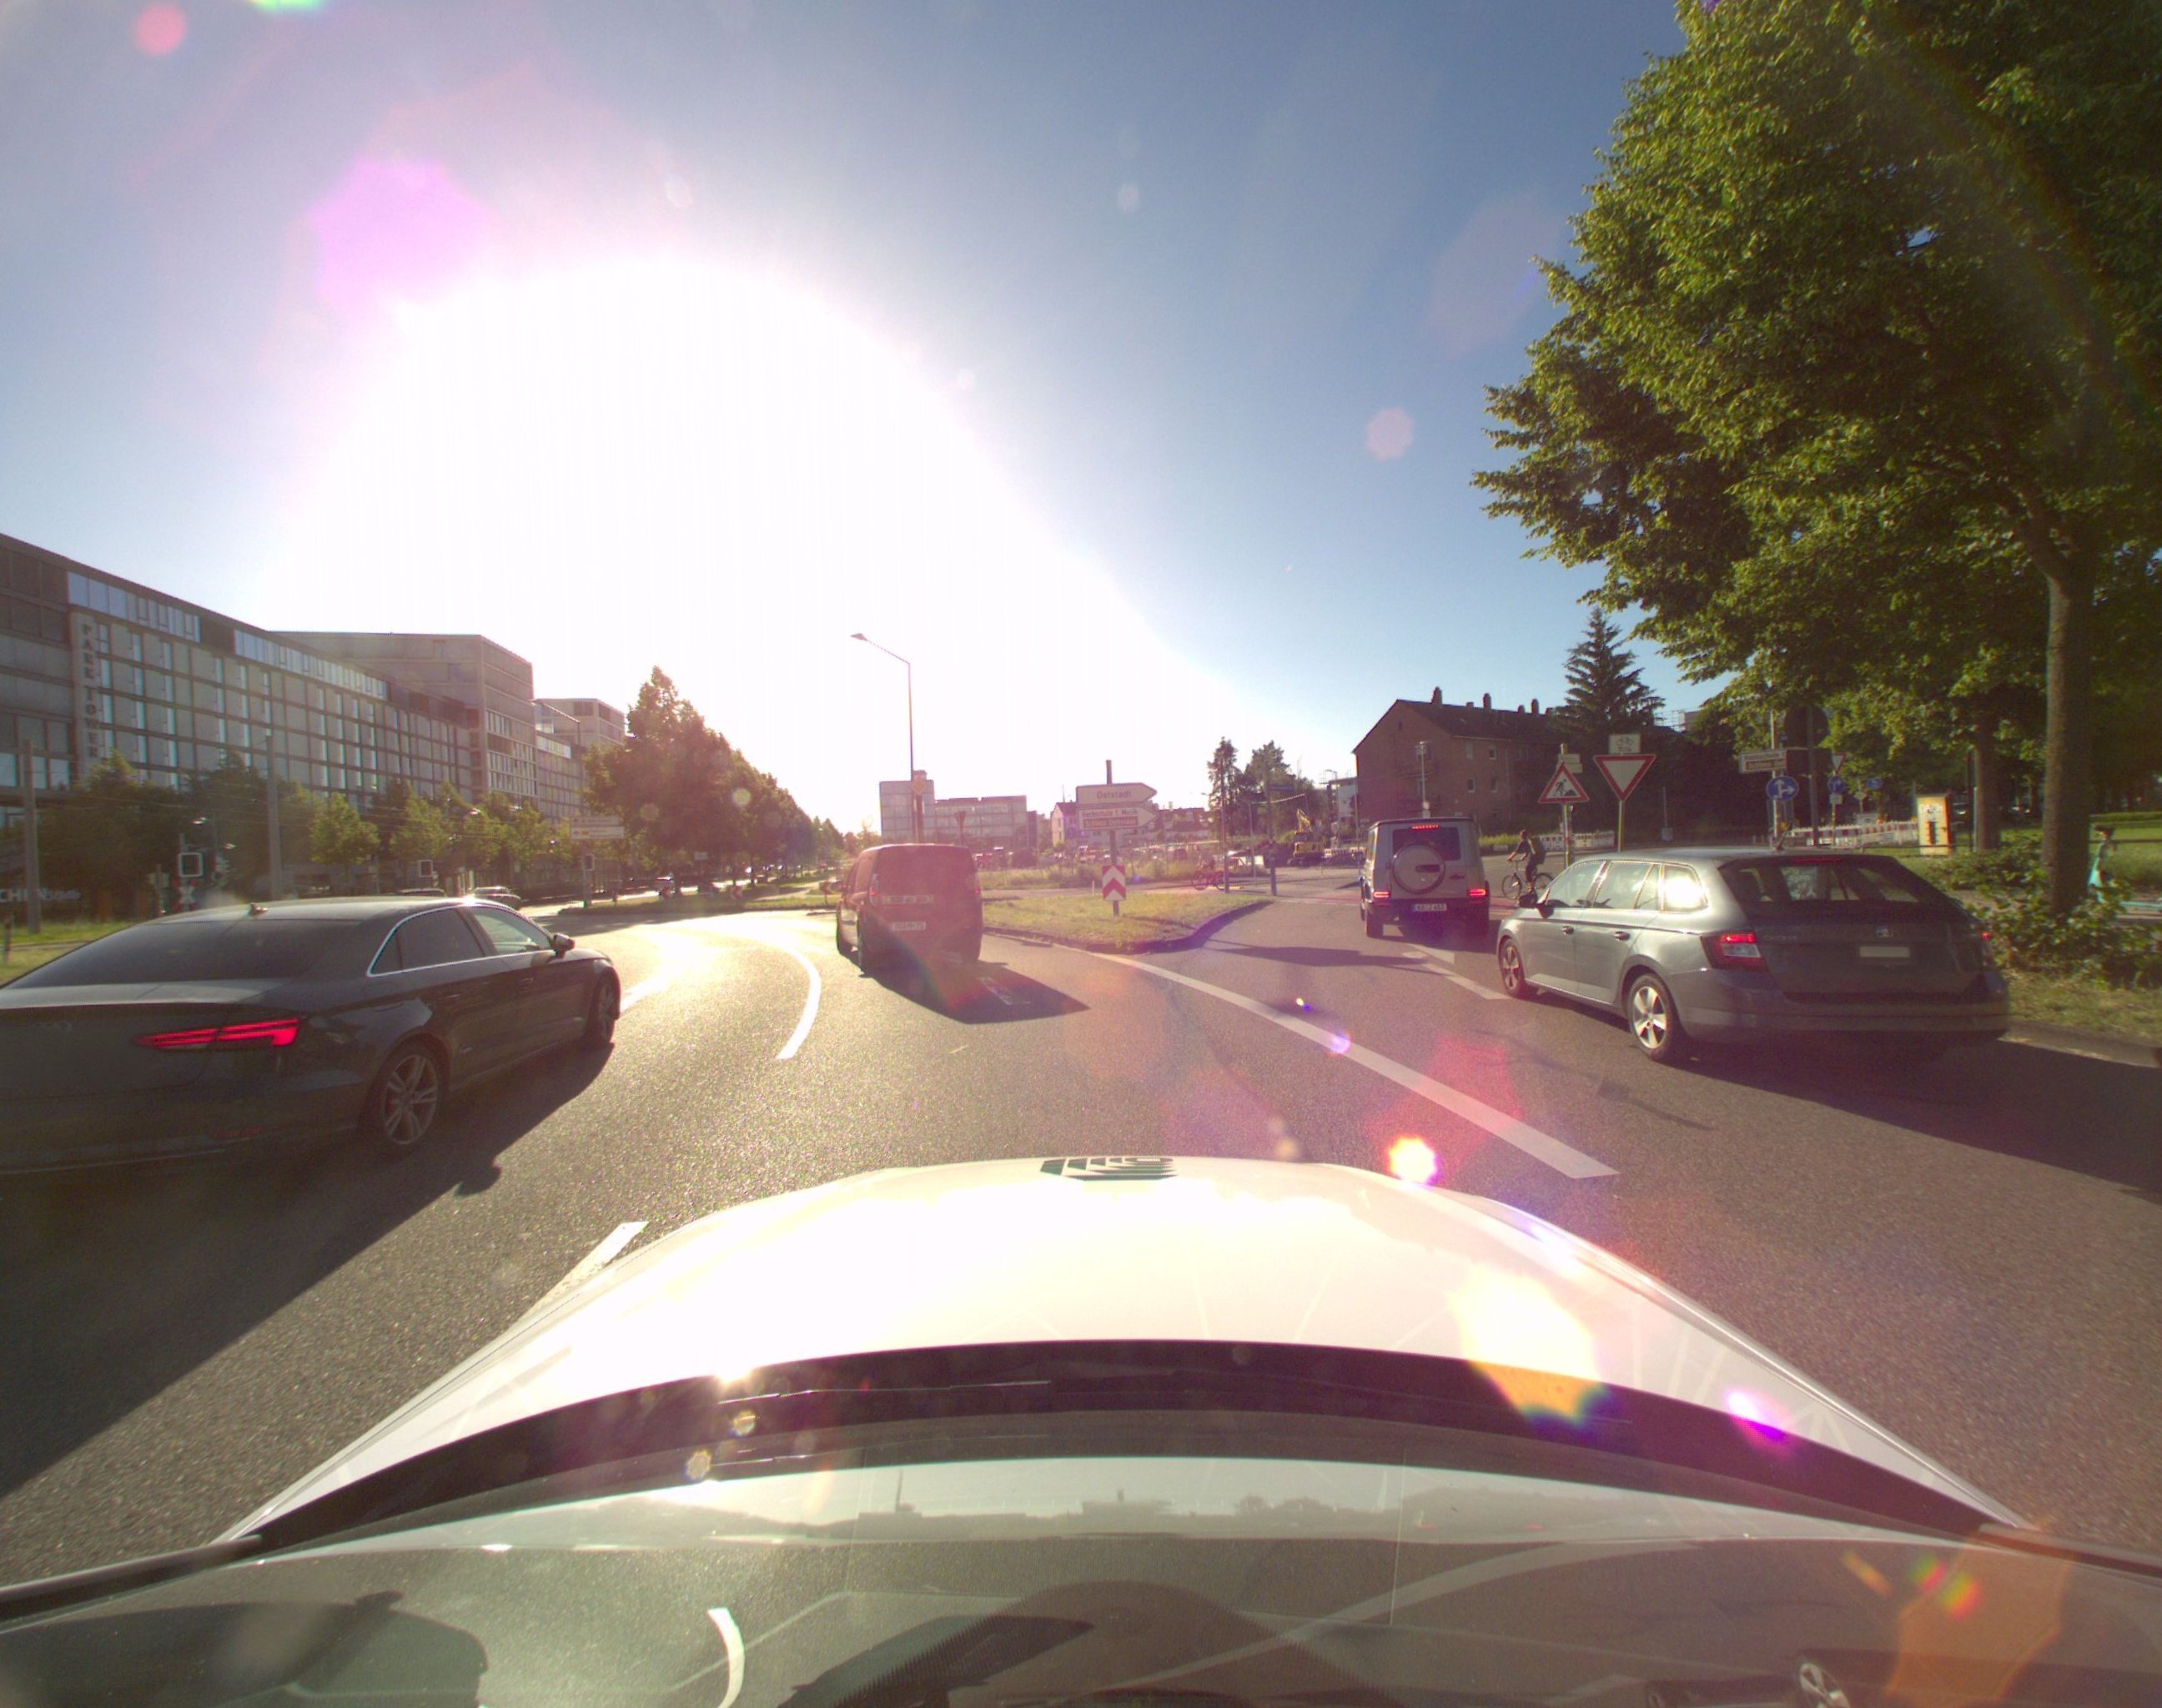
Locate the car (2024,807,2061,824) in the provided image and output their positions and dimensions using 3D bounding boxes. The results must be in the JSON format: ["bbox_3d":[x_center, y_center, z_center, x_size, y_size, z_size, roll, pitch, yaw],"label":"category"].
[{"bbox_3d":[107.916,-4.299,91.405,4.012,1.871,1.981,-1,0,-30],"label":"car"}]

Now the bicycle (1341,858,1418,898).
[{"bbox_3d":[8.029,0.646,21.935,1.800,1.027,0.664,-1,0,40],"label":"bicycle"}]

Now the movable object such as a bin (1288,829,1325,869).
[{"bbox_3d":[16.422,-0.348,59.522,2.402,2.773,4.014,-1,0,13],"label":"movable object such as a bin"}]

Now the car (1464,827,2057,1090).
[{"bbox_3d":[4.743,0.590,6.626,1.705,1.436,4.160,-2,0,7],"label":"car"}]

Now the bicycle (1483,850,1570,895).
[{"bbox_3d":[10.816,0.435,19.832,0.661,1.027,1.808,-1,0,-26],"label":"bicycle"}]

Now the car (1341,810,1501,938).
[{"bbox_3d":[5.911,0.296,14.749,1.982,1.897,4.772,-2,0,15],"label":"car"}]

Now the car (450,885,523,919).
[{"bbox_3d":[-34.446,2.745,47.331,1.999,1.575,4.382,-3,1,-17],"label":"car"}]

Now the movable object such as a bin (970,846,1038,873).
[{"bbox_3d":[-9.279,0.605,97.843,7.909,2.782,2.933,-3,0,-11],"label":"movable object such as a bin"}]

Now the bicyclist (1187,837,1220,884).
[{"bbox_3d":[4.611,0.234,30.571,0.843,1.680,0.747,-2,3,45],"label":"bicyclist"}]

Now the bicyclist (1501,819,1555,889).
[{"bbox_3d":[10.841,-0.003,19.768,0.662,1.665,0.891,-1,0,-27],"label":"bicyclist"}]

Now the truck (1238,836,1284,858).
[{"bbox_3d":[17.452,-0.629,79.336,2.164,2.013,6.414,-1,0,-10],"label":"truck"}]

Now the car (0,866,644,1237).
[{"bbox_3d":[-4.673,0.843,5.429,1.760,1.380,4.344,-2,0,-10],"label":"car"}]

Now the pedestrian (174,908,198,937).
[{"bbox_3d":[-48.429,3.692,44.084,0.555,1.466,0.674,-2,-1,-16],"label":"pedestrian"}]

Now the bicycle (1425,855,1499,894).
[{"bbox_3d":[10.523,0.558,22.567,0.662,1.027,1.807,-1,0,-29],"label":"bicycle"}]

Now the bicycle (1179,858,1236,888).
[{"bbox_3d":[4.737,0.708,30.512,1.985,1.027,0.747,-1,3,45],"label":"bicycle"}]

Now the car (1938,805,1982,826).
[{"bbox_3d":[83.108,-3.579,76.972,4.012,1.871,1.981,-1,0,-30],"label":"car"}]

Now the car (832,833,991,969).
[{"bbox_3d":[-2.870,0.661,13.127,1.810,1.813,3.780,-2,0,-23],"label":"car"}]

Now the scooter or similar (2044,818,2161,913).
[{"bbox_3d":[14.285,0.158,11.208,0.443,1.248,1.260,-1,-1,-10],"label":"scooter or similar"}]

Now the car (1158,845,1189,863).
[{"bbox_3d":[10.652,0.044,94.076,1.998,2.013,4.473,-1,0,-17],"label":"car"}]

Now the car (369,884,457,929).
[{"bbox_3d":[-25.750,1.972,31.369,3.760,1.461,1.820,0,1,38],"label":"car"}]

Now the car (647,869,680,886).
[{"bbox_3d":[-43.758,2.456,85.378,1.996,1.575,4.387,-3,1,-14],"label":"car"}]

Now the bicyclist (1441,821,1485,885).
[{"bbox_3d":[10.538,-0.023,22.491,0.656,1.730,0.805,-2,-1,-29],"label":"bicyclist"}]

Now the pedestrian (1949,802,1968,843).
[{"bbox_3d":[43.917,-1.575,40.751,0.455,2.013,0.468,-3,0,-24],"label":"pedestrian"}]
